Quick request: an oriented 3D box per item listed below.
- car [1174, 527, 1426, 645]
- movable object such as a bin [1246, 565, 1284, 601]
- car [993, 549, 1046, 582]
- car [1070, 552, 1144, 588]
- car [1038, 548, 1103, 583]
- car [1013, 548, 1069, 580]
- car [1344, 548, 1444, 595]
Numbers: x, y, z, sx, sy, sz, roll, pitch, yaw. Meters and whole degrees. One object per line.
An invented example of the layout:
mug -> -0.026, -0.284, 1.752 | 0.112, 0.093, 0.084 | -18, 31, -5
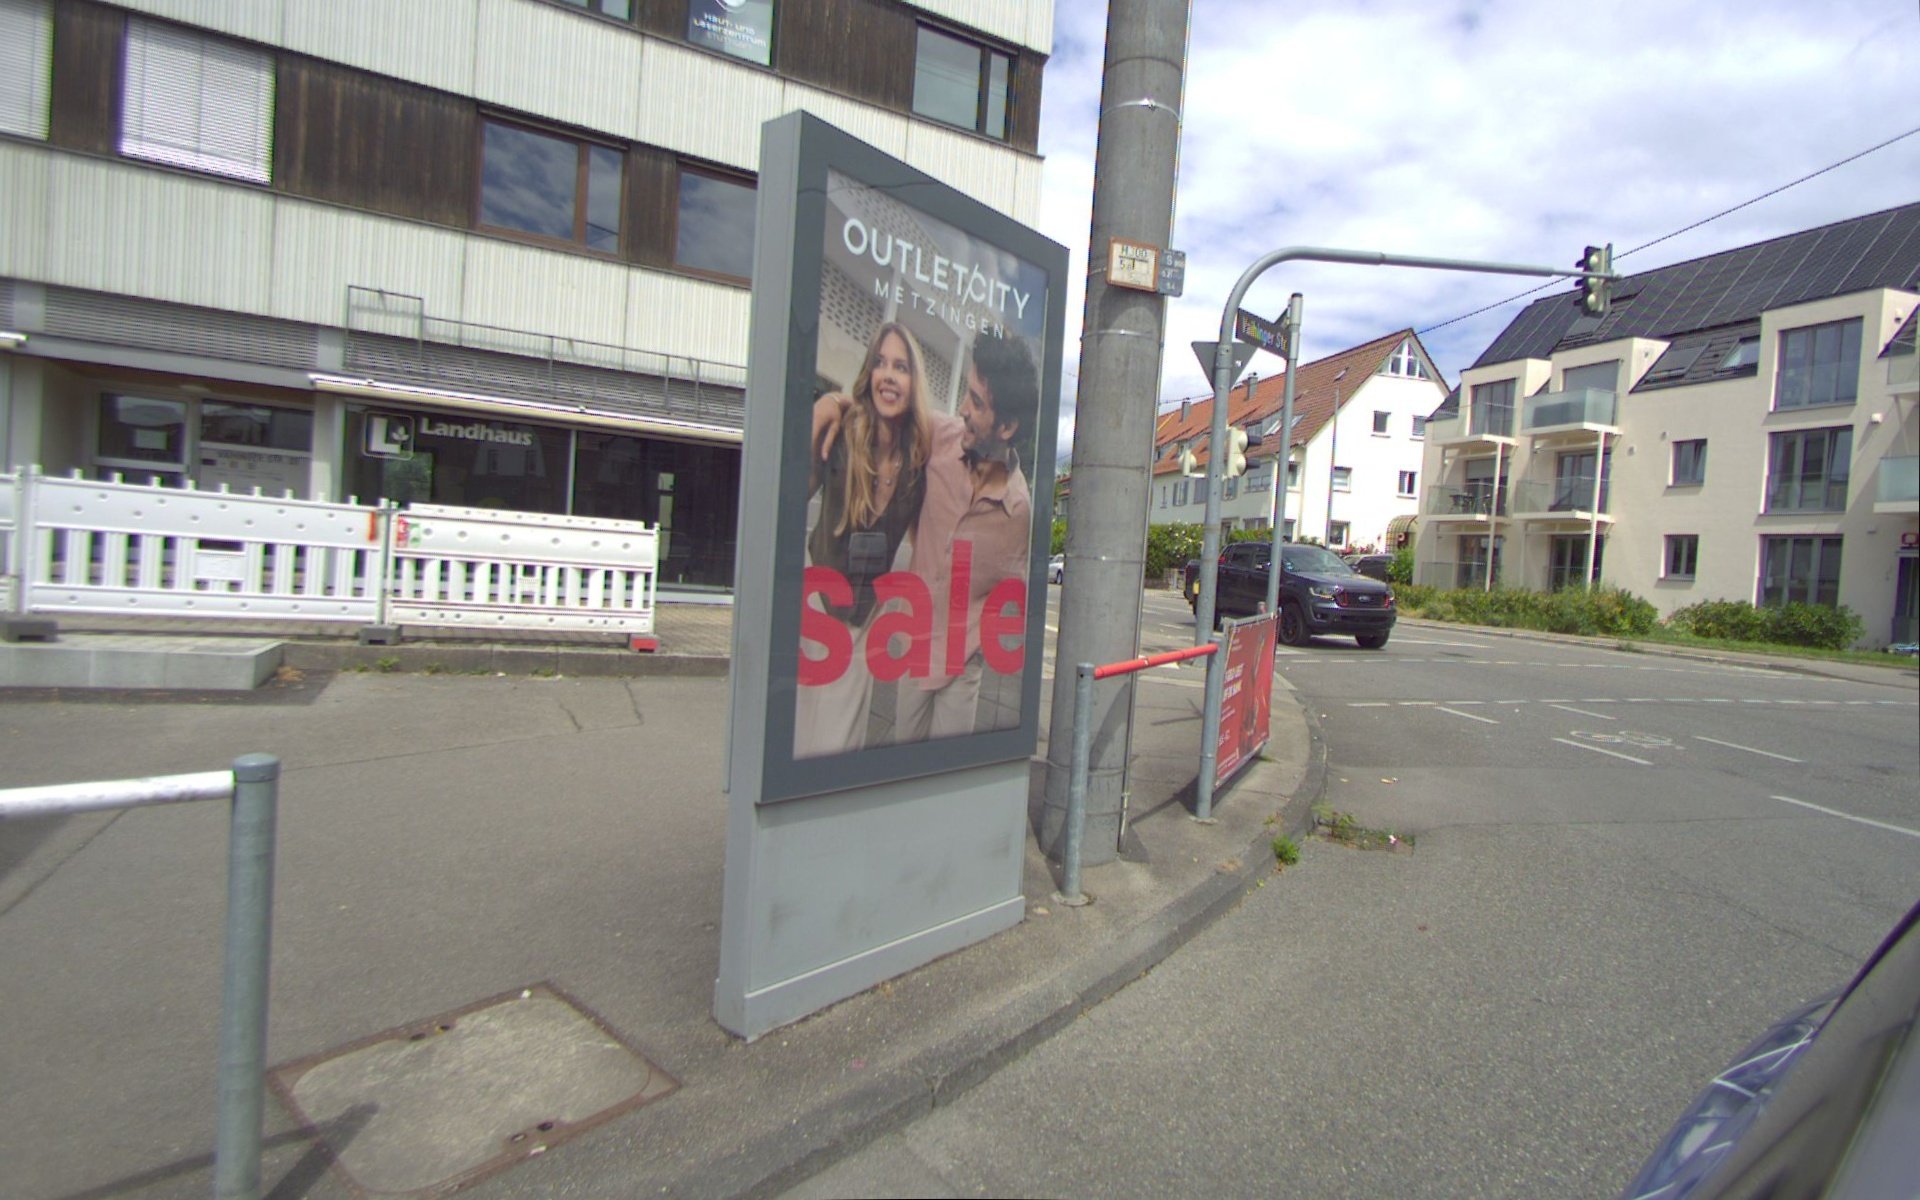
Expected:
car -> 6.185, -0.379, 19.277 | 1.848, 1.871, 5.235 | 2, 3, -15
movable object such as a bin -> 12.467, -0.710, 41.351 | 1.070, 1.379, 0.983 | 2, 2, -14
car -> 3.768, -2.229, 64.990 | 1.959, 1.651, 4.247 | 9, 1, -14
car -> 7.105, -1.484, 49.435 | 1.781, 1.519, 4.465 | 2, 3, -16
car -> 5.848, -1.870, 54.198 | 1.958, 1.652, 4.465 | 2, 3, -14
car -> 4.680, -2.116, 59.356 | 1.958, 1.652, 4.247 | 2, 3, -14
car -> 21.005, -1.416, 49.067 | 3.916, 2.038, 2.005 | 2, 3, -13
